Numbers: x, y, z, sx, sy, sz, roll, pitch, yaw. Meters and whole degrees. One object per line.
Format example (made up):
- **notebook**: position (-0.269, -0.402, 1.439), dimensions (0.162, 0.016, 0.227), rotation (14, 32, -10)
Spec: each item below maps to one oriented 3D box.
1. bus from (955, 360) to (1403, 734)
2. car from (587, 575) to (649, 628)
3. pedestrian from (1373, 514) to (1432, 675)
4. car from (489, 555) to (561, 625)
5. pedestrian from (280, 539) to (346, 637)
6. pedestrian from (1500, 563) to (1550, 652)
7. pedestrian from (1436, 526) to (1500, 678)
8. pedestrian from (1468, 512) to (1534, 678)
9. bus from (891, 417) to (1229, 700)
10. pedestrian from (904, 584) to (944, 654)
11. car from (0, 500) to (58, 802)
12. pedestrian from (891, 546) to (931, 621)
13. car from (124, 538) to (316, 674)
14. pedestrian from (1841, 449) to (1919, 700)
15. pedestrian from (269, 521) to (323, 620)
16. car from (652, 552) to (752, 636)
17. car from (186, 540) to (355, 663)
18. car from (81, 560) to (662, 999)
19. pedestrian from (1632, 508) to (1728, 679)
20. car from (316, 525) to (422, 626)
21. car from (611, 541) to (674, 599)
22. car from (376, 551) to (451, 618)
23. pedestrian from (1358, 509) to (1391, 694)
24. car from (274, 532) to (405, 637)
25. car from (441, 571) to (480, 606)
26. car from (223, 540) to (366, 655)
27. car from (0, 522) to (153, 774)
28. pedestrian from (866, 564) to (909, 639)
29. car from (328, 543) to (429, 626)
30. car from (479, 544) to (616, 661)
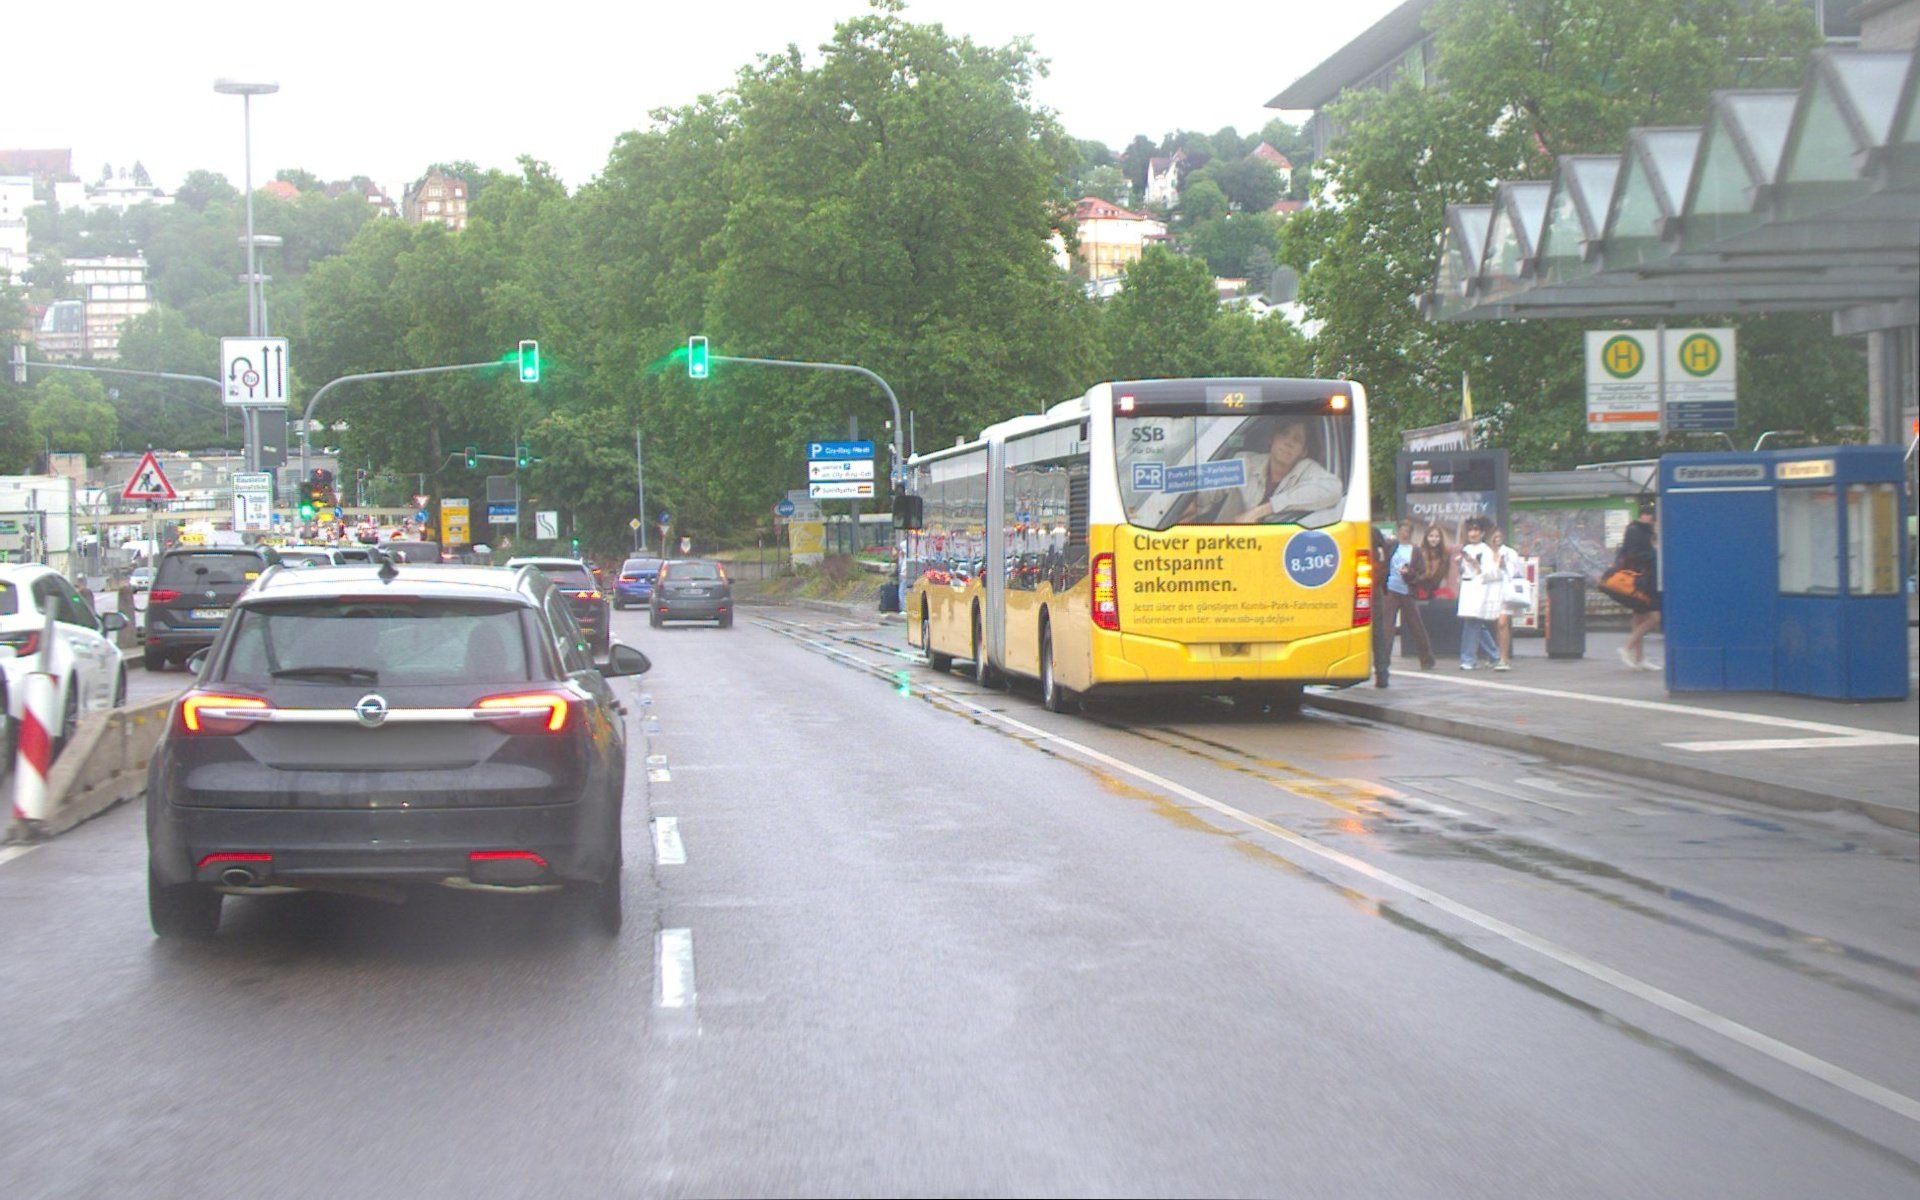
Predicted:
- **bus**: position (1.902, -0.479, 34.423), dimensions (3.141, 3.236, 9.136), rotation (0, 0, -5)
- **car**: position (-11.317, 0.043, 113.655), dimensions (1.903, 1.711, 4.001), rotation (0, 0, -7)
- **pedestrian**: position (5.061, -0.067, 39.345), dimensions (0.565, 1.830, 0.569), rotation (-1, 1, -2)
- **car**: position (-12.779, -0.308, 100.827), dimensions (1.983, 2.007, 4.370), rotation (0, 0, -9)
- **pedestrian**: position (-13.458, -0.254, 71.498), dimensions (0.835, 2.007, 1.026), rotation (0, 1, 32)
- **pedestrian**: position (7.891, 0.102, 48.040), dimensions (0.514, 1.228, 0.770), rotation (-1, 1, -2)
- **pedestrian**: position (5.796, 0.021, 39.234), dimensions (0.609, 1.717, 0.592), rotation (-1, 1, -1)
- **pedestrian**: position (6.043, -0.056, 38.390), dimensions (0.695, 1.830, 0.555), rotation (-1, 1, 11)
- **bus**: position (1.045, -0.493, 43.554), dimensions (3.113, 3.194, 9.244), rotation (0, 0, -6)
- **pedestrian**: position (-0.893, 0.457, 84.523), dimensions (0.875, 1.685, 0.758), rotation (-1, 1, -6)
- **car**: position (-6.878, 0.344, 20.462), dimensions (1.993, 1.856, 4.833), rotation (-1, 1, -4)
- **pedestrian**: position (-1.182, -0.400, 82.747), dimensions (0.745, 1.798, 0.710), rotation (-2, 1, -20)
- **car**: position (-9.722, 0.048, 45.465), dimensions (1.993, 1.648, 4.642), rotation (-1, 1, -7)
- **pedestrian**: position (8.237, -0.230, 30.628), dimensions (0.590, 2.207, 0.587), rotation (-1, 1, -3)
- **pedestrian**: position (-13.619, -0.609, 70.517), dimensions (0.835, 2.007, 0.622), rotation (0, 1, 31)
- **car**: position (-5.399, -0.131, 71.670), dimensions (1.851, 1.711, 4.001), rotation (0, 0, -7)
- **car**: position (-10.302, -0.006, 51.673), dimensions (2.049, 1.705, 5.056), rotation (-1, 1, -7)
- **car**: position (-2.259, 0.594, 14.424), dimensions (1.877, 1.503, 4.852), rotation (-1, 1, -4)
- **pedestrian**: position (7.801, -0.074, 37.290), dimensions (0.985, 1.830, 0.835), rotation (-1, 1, 11)
- **car**: position (-11.719, -0.498, 68.354), dimensions (1.713, 1.885, 4.611), rotation (-1, 1, -6)
- **car**: position (-8.812, -0.835, 95.280), dimensions (1.674, 1.576, 3.240), rotation (0, 0, -6)
- **car**: position (-15.239, -0.431, 95.776), dimensions (1.993, 1.839, 5.064), rotation (0, 0, -9)
- **pedestrian**: position (4.147, 0.010, 34.412), dimensions (0.243, 1.830, 0.512), rotation (-1, 1, -1)
- **car**: position (-11.283, -0.302, 62.756), dimensions (1.993, 1.781, 4.849), rotation (-1, 1, -6)
- **car**: position (-23.503, -0.541, 161.697), dimensions (1.705, 1.660, 3.707), rotation (0, 0, -10)
- **car**: position (-10.969, -0.062, 56.914), dimensions (1.993, 1.781, 4.455), rotation (-1, 1, -7)
- **car**: position (-7.352, 0.320, 25.686), dimensions (1.993, 1.700, 4.833), rotation (-1, 1, -7)
- **pedestrian**: position (-1.807, 0.036, 85.579), dimensions (0.786, 1.832, 0.950), rotation (-2, 1, -20)
- **car**: position (-12.553, -0.352, 74.407), dimensions (1.786, 1.680, 4.667), rotation (-1, 1, -5)
- **car**: position (-6.239, 0.010, 52.343), dimensions (1.830, 1.680, 4.134), rotation (-1, 1, -4)
